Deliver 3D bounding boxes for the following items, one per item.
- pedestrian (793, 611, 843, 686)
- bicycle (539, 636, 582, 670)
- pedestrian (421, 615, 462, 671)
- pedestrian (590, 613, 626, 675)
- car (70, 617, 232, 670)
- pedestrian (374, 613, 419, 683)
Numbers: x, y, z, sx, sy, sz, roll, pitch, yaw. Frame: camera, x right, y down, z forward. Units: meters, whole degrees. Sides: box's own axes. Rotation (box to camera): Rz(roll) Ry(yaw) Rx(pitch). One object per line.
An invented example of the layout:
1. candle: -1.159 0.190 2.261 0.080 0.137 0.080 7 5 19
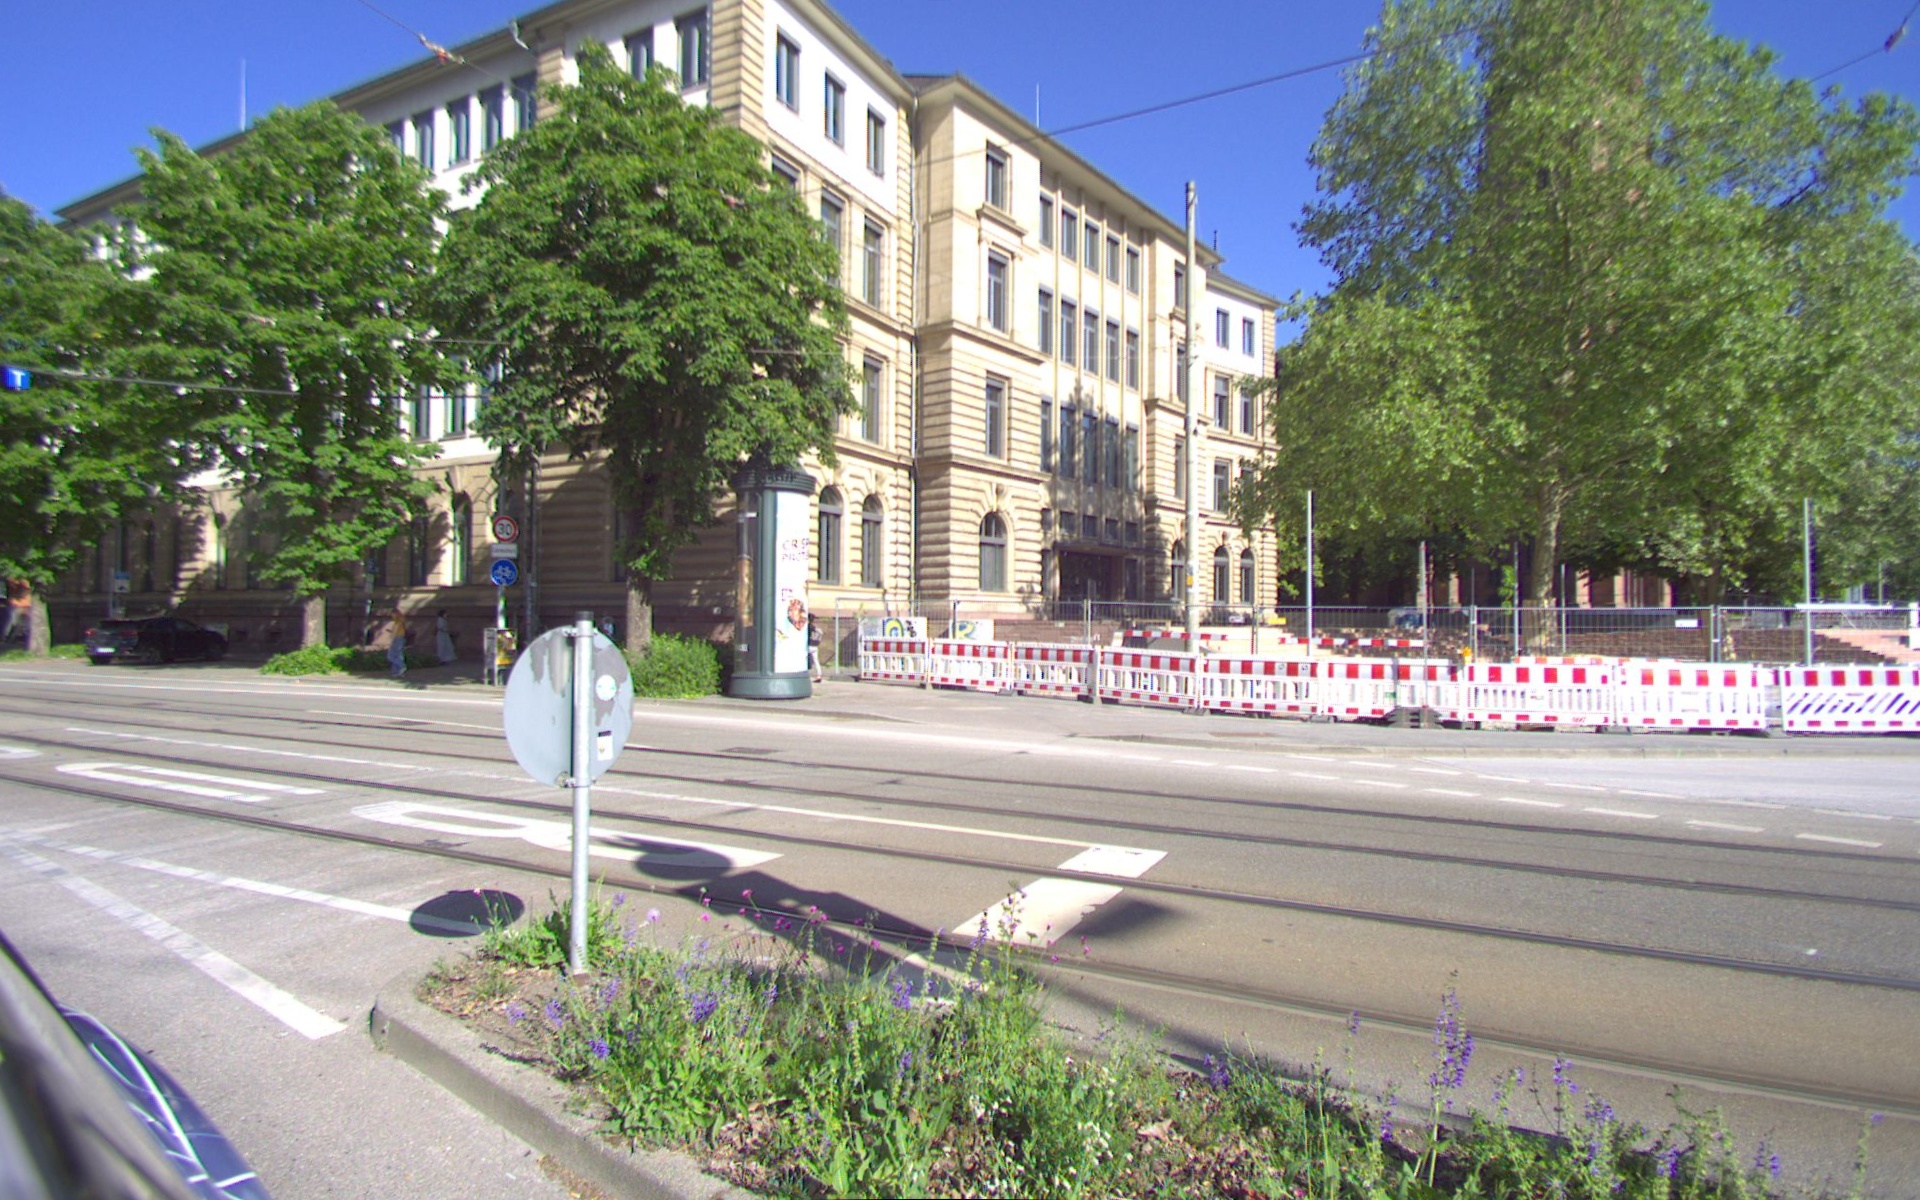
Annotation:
1. pedestrian: -3.336 1.132 23.802 0.845 1.682 0.720 2 0 39
2. bicycle: -11.427 1.510 28.929 1.356 0.910 0.394 0 0 31
3. pedestrian: -15.188 1.248 29.668 0.854 1.578 0.667 0 2 28
4. pedestrian: -8.987 1.120 25.861 0.651 1.574 0.573 -1 -2 29
5. car: -26.049 1.367 32.787 1.895 1.586 4.108 0 -2 1
6. pedestrian: -14.187 1.212 25.485 0.760 1.682 1.035 2 -7 -42
